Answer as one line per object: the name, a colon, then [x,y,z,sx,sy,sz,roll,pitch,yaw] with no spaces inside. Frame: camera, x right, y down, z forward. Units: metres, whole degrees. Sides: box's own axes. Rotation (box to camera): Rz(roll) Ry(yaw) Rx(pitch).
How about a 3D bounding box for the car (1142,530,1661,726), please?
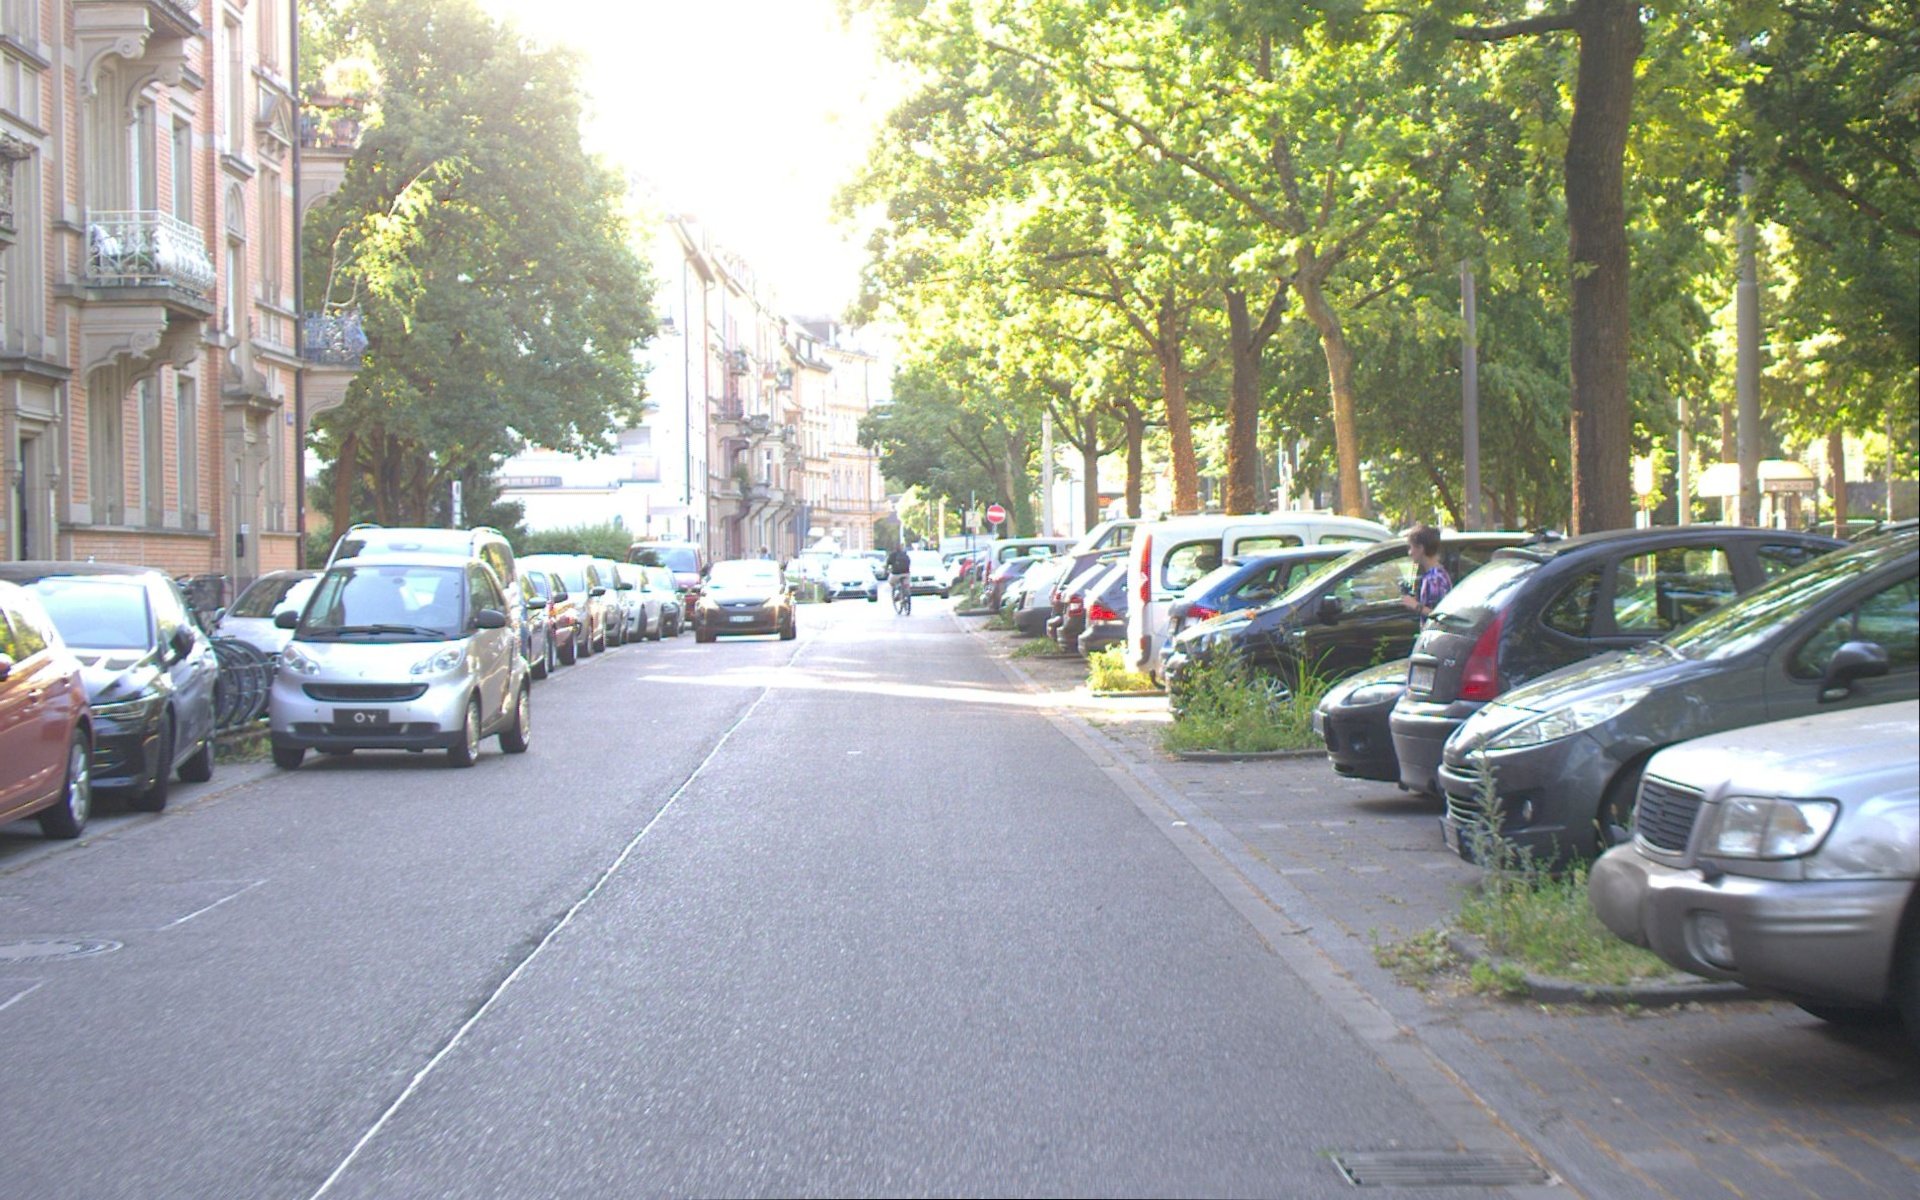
car: [3.716,0.219,29.383,4.081,1.437,1.762,-3,1,-3]

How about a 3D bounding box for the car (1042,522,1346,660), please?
car: [3.175,-0.135,47.279,3.987,1.685,1.859,-3,1,0]

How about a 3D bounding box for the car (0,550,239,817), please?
car: [-5.697,0.465,22.022,1.746,1.541,4.153,1,0,-7]

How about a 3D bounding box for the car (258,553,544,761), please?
car: [-4.159,0.389,25.936,1.504,1.430,2.752,-2,1,4]

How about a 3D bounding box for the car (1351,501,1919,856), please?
car: [4.318,0.330,17.077,4.398,1.585,1.838,-2,0,-5]

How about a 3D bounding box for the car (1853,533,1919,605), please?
car: [23.805,-0.726,81.904,4.704,1.678,1.998,0,-1,22]

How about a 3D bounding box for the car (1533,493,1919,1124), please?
car: [4.004,0.472,9.698,4.399,1.585,1.838,-2,0,-1]

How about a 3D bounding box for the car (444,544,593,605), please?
car: [-12.616,-0.728,98.388,3.987,1.700,2.000,0,-1,0]

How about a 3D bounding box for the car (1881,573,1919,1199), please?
car: [4.317,0.596,6.944,4.399,1.435,1.837,-2,0,2]

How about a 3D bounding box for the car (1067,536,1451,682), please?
car: [3.389,0.090,39.310,4.220,1.448,1.649,-2,1,4]

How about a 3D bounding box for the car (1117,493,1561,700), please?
car: [3.768,-0.043,34.732,4.220,1.857,1.762,-3,1,0]

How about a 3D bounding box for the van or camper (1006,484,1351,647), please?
van or camper: [3.242,-0.493,51.838,4.981,2.369,2.185,0,-1,-2]

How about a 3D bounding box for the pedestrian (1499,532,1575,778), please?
pedestrian: [3.627,0.337,21.591,0.380,1.511,0.518,0,3,19]

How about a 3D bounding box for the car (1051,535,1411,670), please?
car: [3.282,0.018,42.204,4.220,1.448,1.865,-3,1,0]

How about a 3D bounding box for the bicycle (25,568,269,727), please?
bicycle: [-6.264,0.367,26.521,1.763,1.211,0.464,0,-1,-1]

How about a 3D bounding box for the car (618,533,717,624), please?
car: [-6.609,-0.500,78.063,1.957,2.011,4.268,0,1,-1]

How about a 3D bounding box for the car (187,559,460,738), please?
car: [-5.729,0.387,31.410,1.674,1.449,4.210,-2,1,0]

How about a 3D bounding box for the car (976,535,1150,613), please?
car: [2.436,-0.607,82.116,3.986,1.788,1.859,0,-1,-3]

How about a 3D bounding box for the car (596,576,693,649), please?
car: [-6.628,0.239,72.535,1.756,1.461,4.268,0,1,-1]

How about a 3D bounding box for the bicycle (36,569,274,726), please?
bicycle: [-6.324,0.374,27.032,1.763,1.211,0.428,0,-1,-1]

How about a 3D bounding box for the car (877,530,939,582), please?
car: [-1.725,-1.441,113.024,1.778,1.668,4.488,0,1,-4]

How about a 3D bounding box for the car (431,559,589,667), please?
car: [-6.226,0.146,47.906,1.670,1.425,4.241,0,1,0]

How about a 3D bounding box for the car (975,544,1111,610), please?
car: [2.621,-0.719,108.070,3.989,2.007,1.999,0,-1,11]

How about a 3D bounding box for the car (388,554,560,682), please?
car: [-5.985,0.184,42.675,1.669,1.481,4.000,1,1,-2]

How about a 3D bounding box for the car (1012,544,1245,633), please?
car: [3.004,-0.197,61.834,3.986,1.543,1.859,0,-1,-3]

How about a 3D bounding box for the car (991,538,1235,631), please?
car: [2.847,-0.272,64.449,4.389,1.694,1.859,0,-1,-3]

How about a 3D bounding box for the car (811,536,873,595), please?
car: [-3.914,-1.129,114.018,1.993,1.832,4.000,0,-1,-2]

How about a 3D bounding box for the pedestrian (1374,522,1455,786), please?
pedestrian: [2.783,0.324,21.030,0.380,1.579,0.518,0,3,19]

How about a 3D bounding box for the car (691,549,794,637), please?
car: [-3.851,-0.144,61.435,1.668,1.459,4.000,-2,1,-2]

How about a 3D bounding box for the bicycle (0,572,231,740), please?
bicycle: [-6.403,0.409,25.088,2.087,1.211,0.442,1,-1,-16]

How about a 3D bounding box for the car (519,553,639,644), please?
car: [-6.545,-0.056,59.371,1.756,1.510,4.162,0,1,-2]

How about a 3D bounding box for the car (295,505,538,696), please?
car: [-5.779,0.044,37.151,1.993,1.914,5.040,0,-1,-2]

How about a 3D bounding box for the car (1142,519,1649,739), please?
car: [3.324,0.207,26.768,3.674,1.496,1.762,-3,1,0]

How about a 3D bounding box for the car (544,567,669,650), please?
car: [-6.529,0.131,63.875,1.756,1.461,4.267,0,1,2]

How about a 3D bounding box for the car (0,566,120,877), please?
car: [-5.511,0.565,17.255,1.753,1.459,4.001,2,1,-3]

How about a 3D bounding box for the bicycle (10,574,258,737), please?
bicycle: [-6.237,0.419,26.005,1.763,1.211,0.441,0,-1,-1]

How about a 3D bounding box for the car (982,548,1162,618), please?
car: [2.572,-0.386,79.446,3.986,1.558,1.859,0,-1,-3]

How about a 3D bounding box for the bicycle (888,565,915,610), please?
bicycle: [-1.462,-0.313,86.090,0.641,1.096,1.944,0,-1,-2]

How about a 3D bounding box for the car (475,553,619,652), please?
car: [-6.364,0.009,53.340,1.704,1.424,3.877,1,1,1]

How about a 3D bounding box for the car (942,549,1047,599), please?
car: [1.416,-1.052,139.602,3.989,2.007,1.999,0,-1,11]

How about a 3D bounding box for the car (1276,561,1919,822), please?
car: [3.791,0.476,19.102,3.842,1.274,1.691,-2,1,-2]

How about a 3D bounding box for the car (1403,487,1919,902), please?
car: [4.204,0.333,14.475,4.399,1.585,1.838,-2,0,0]

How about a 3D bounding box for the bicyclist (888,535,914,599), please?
bicyclist: [-1.473,-0.820,86.137,0.627,1.568,0.802,0,-1,-2]
